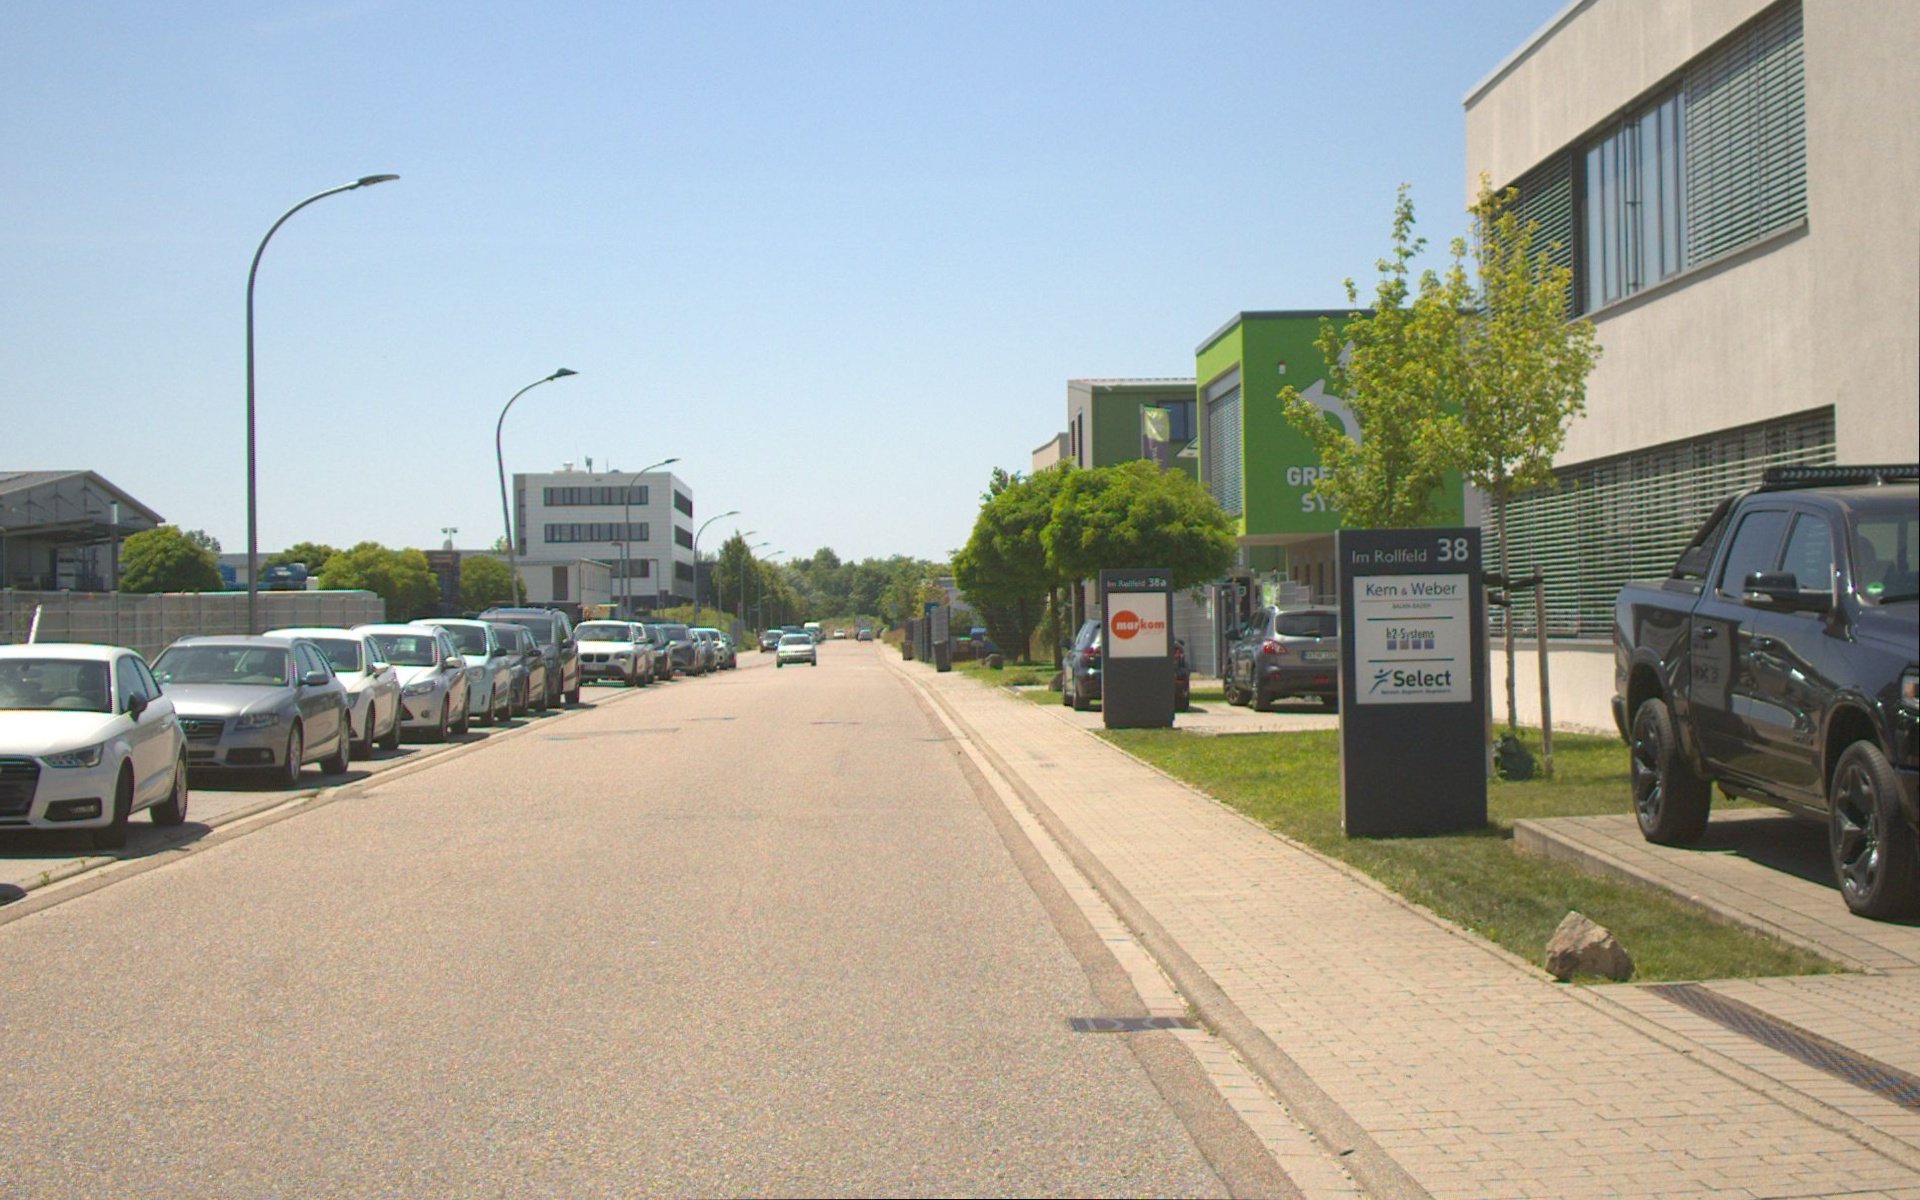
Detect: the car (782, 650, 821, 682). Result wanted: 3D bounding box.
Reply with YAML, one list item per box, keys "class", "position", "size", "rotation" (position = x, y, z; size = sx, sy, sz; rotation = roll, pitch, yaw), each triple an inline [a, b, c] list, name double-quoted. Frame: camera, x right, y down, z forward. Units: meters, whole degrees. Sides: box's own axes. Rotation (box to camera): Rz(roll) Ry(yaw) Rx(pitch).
- class: "car"
  position: [-7.012, 2.906, 152.393]
  size: [1.704, 1.406, 4.784]
  rotation: [0, -1, -2]

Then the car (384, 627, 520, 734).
- class: "car"
  position: [-7.568, 1.195, 51.475]
  size: [1.634, 1.531, 3.658]
  rotation: [1, -1, -2]

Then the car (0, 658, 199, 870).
- class: "car"
  position: [-6.715, 1.141, 25.142]
  size: [1.699, 1.381, 3.938]
  rotation: [0, 0, -4]

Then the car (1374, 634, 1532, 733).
- class: "car"
  position: [7.461, 1.253, 52.352]
  size: [1.723, 1.444, 4.022]
  rotation: [0, -1, -2]

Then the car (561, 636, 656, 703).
- class: "car"
  position: [-8.296, 1.649, 81.467]
  size: [1.787, 1.537, 4.364]
  rotation: [0, -1, 0]

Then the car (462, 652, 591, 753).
- class: "car"
  position: [-7.689, 1.798, 61.324]
  size: [1.802, 1.714, 4.622]
  rotation: [1, -1, -1]

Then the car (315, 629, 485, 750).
- class: "car"
  position: [-7.436, 1.175, 46.013]
  size: [1.703, 1.531, 4.572]
  rotation: [1, -1, -2]

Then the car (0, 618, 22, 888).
- class: "car"
  position: [-6.746, 0.929, 19.050]
  size: [1.769, 1.646, 4.850]
  rotation: [0, 0, 0]

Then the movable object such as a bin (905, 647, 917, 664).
- class: "movable object such as a bin"
  position: [-2.711, 3.089, 190.946]
  size: [0.552, 0.925, 0.522]
  rotation: [-5, 0, 3]

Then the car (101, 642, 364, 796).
- class: "car"
  position: [-7.093, 1.123, 33.938]
  size: [1.684, 1.381, 4.639]
  rotation: [0, 0, -1]

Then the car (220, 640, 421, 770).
- class: "car"
  position: [-7.491, 1.204, 40.627]
  size: [1.703, 1.439, 4.440]
  rotation: [1, -1, -2]

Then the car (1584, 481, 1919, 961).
- class: "car"
  position: [4.830, 0.429, 17.313]
  size: [1.993, 2.007, 5.801]
  rotation: [-1, 1, -3]

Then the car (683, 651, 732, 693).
- class: "car"
  position: [-9.756, 2.788, 132.898]
  size: [1.769, 1.587, 4.360]
  rotation: [1, -2, -3]

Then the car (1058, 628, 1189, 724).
- class: "car"
  position: [2.484, 1.165, 53.127]
  size: [1.692, 1.423, 4.246]
  rotation: [0, -1, -2]

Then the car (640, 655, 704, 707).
- class: "car"
  position: [-9.002, 2.543, 107.780]
  size: [1.790, 1.602, 4.463]
  rotation: [0, -1, -2]

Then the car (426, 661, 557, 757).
- class: "car"
  position: [-7.670, 1.769, 56.576]
  size: [1.634, 1.495, 3.971]
  rotation: [1, -1, -1]

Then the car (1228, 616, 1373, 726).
- class: "car"
  position: [5.196, 1.089, 52.882]
  size: [1.723, 1.627, 4.022]
  rotation: [0, -1, -2]
